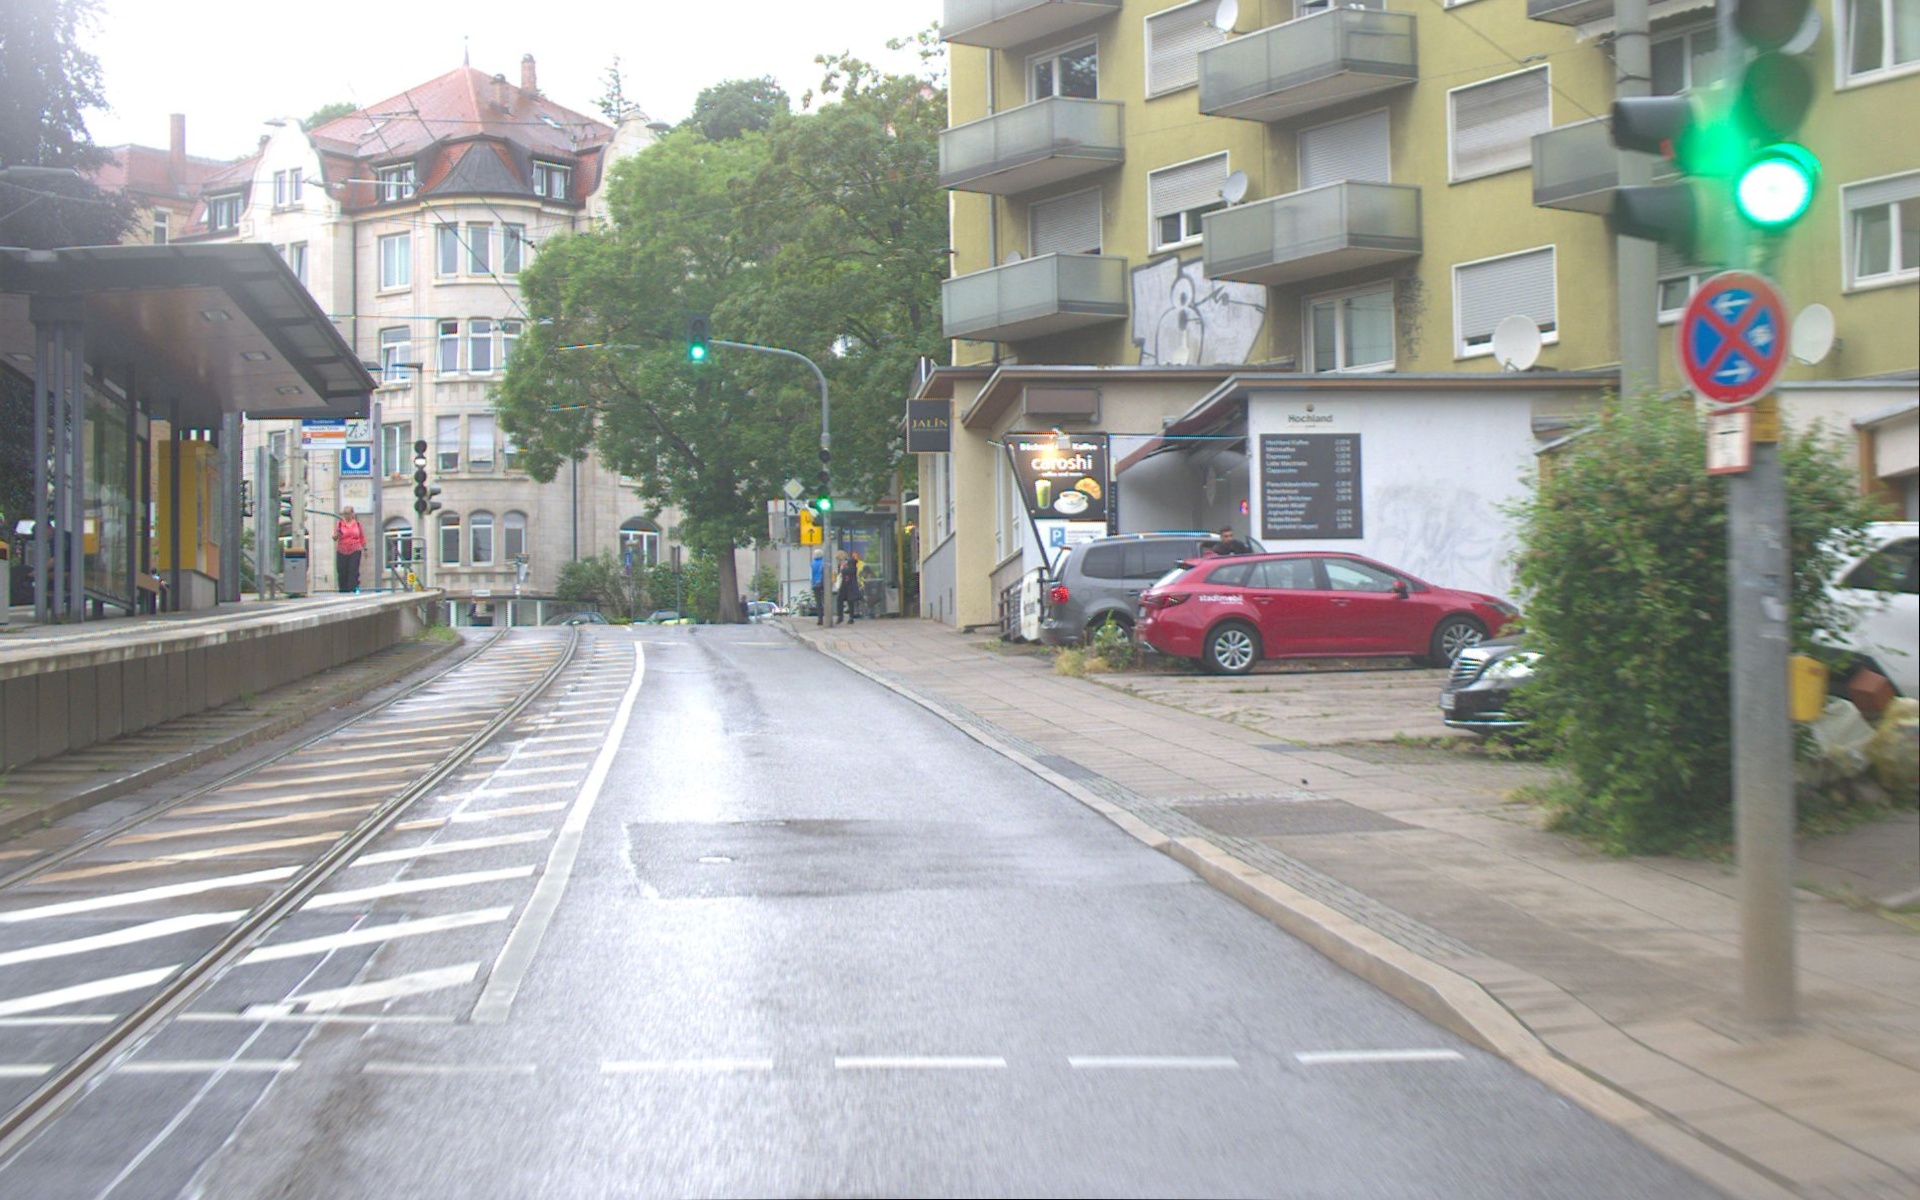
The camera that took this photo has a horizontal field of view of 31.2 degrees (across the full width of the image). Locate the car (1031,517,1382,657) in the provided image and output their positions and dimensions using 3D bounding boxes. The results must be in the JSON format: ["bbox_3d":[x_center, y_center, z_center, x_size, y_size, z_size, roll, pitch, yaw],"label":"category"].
[{"bbox_3d":[3.164,-0.178,44.664,4.328,1.668,1.781,-2,0,-3],"label":"car"}]

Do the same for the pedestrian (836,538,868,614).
[{"bbox_3d":[-2.255,-0.499,71.761,0.545,1.548,0.559,-2,1,-7],"label":"pedestrian"}]

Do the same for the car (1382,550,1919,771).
[{"bbox_3d":[5.811,0.443,25.720,4.930,1.431,1.975,1,3,-4],"label":"car"}]

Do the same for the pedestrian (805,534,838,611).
[{"bbox_3d":[-2.856,-0.573,70.931,0.588,1.548,0.650,-2,1,-6],"label":"pedestrian"}]

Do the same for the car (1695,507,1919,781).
[{"bbox_3d":[6.458,0.262,19.664,3.986,1.462,1.817,1,0,-9],"label":"car"}]

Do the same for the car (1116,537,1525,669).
[{"bbox_3d":[4.274,0.026,41.117,4.568,1.433,1.765,-2,0,-5],"label":"car"}]

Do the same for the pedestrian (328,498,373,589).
[{"bbox_3d":[-10.337,-0.960,58.348,0.671,1.542,0.771,-1,1,-6],"label":"pedestrian"}]
